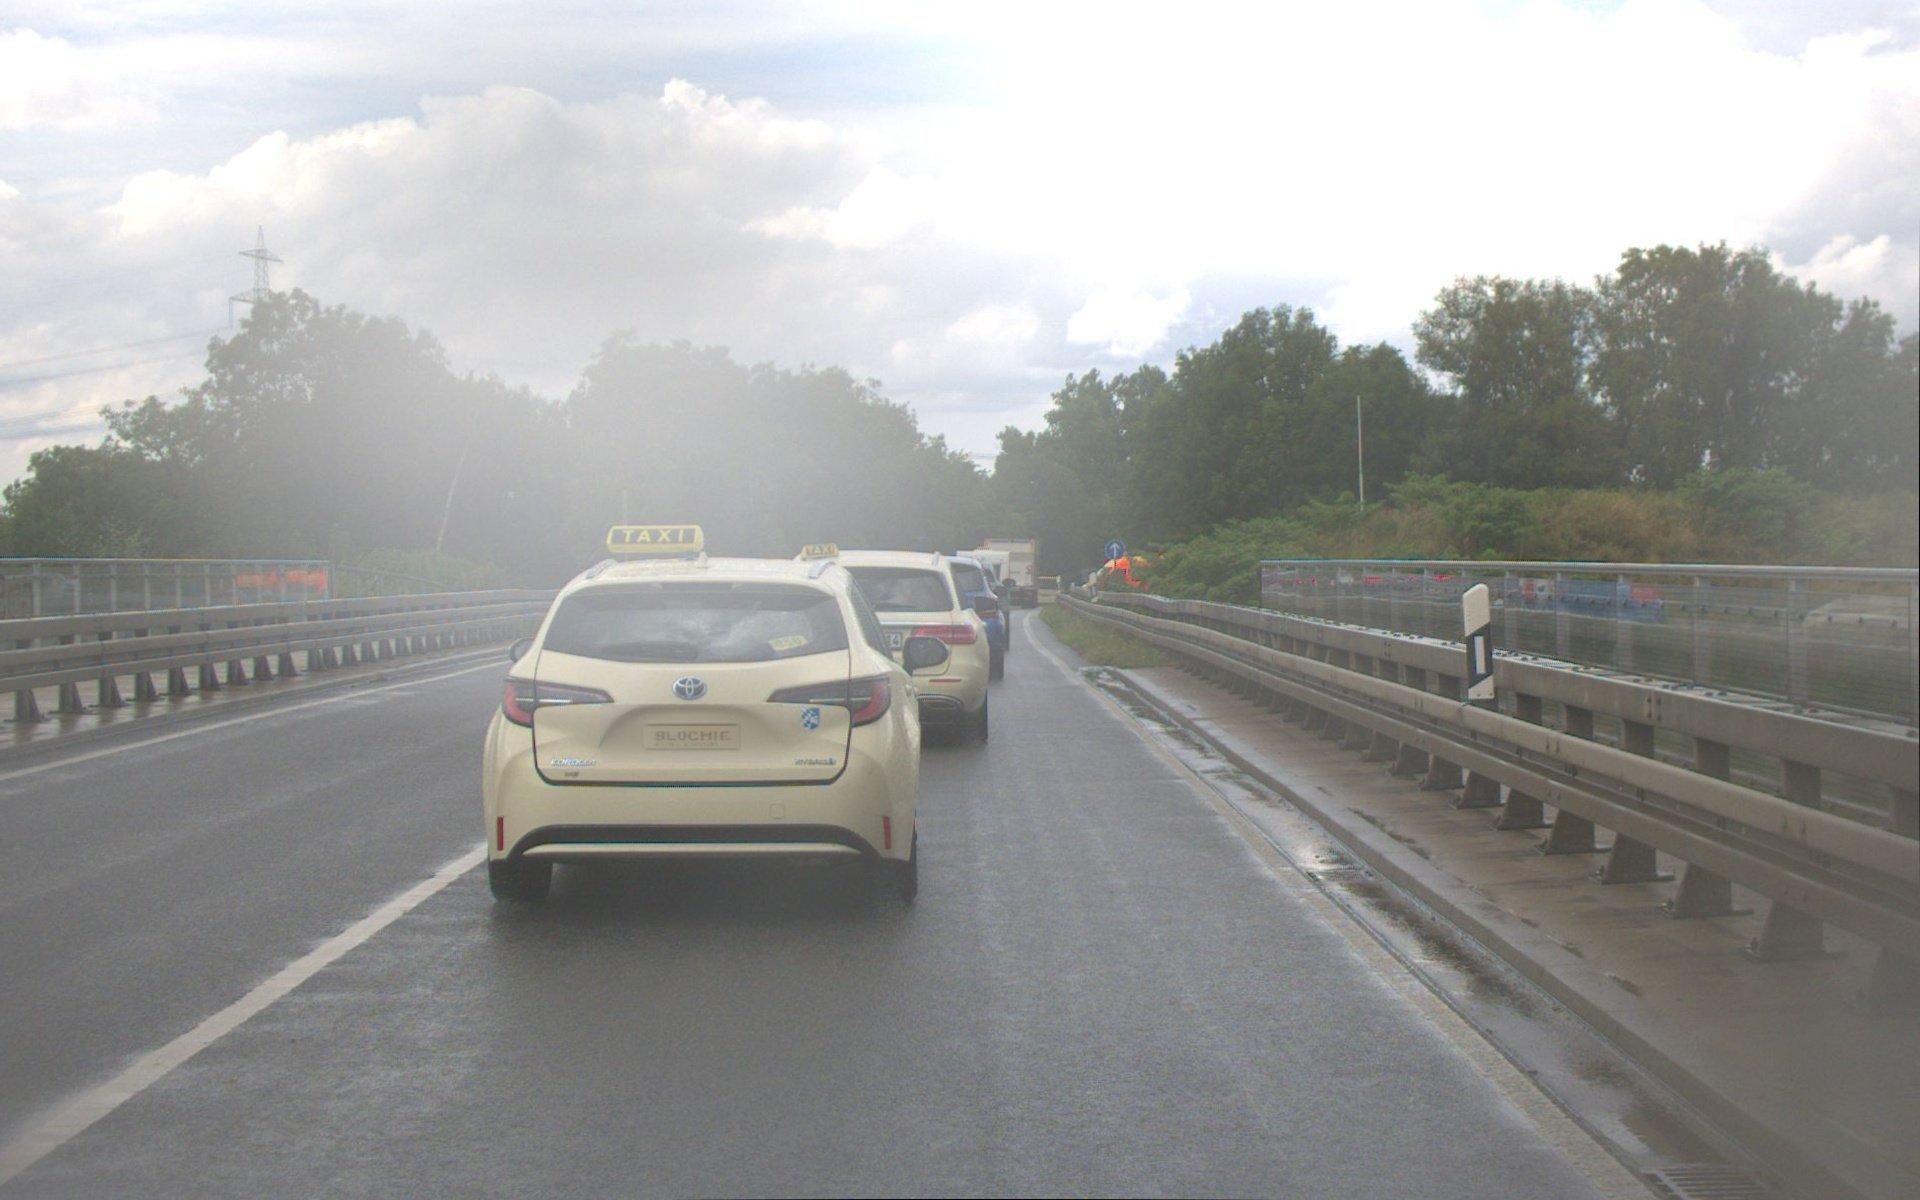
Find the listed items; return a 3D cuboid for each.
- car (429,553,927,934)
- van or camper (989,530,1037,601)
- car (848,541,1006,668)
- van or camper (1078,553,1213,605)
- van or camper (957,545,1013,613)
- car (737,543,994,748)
[{"bbox_3d":[-1.099,0.521,15.226,1.854,1.389,4.171,1,1,0],"label":"car"},{"bbox_3d":[2.703,-1.806,177.358,2.332,3.550,6.307,1,1,0],"label":"van or camper"},{"bbox_3d":[-0.392,0.020,42.677,1.854,1.438,4.171,1,1,0],"label":"car"},{"bbox_3d":[8.282,-0.948,153.699,5.676,2.234,2.021,1,1,-14],"label":"van or camper"},{"bbox_3d":[1.054,-0.930,149.526,2.332,2.854,6.307,1,1,0],"label":"van or camper"},{"bbox_3d":[-0.696,0.296,27.234,1.854,1.438,4.171,1,1,0],"label":"car"}]
